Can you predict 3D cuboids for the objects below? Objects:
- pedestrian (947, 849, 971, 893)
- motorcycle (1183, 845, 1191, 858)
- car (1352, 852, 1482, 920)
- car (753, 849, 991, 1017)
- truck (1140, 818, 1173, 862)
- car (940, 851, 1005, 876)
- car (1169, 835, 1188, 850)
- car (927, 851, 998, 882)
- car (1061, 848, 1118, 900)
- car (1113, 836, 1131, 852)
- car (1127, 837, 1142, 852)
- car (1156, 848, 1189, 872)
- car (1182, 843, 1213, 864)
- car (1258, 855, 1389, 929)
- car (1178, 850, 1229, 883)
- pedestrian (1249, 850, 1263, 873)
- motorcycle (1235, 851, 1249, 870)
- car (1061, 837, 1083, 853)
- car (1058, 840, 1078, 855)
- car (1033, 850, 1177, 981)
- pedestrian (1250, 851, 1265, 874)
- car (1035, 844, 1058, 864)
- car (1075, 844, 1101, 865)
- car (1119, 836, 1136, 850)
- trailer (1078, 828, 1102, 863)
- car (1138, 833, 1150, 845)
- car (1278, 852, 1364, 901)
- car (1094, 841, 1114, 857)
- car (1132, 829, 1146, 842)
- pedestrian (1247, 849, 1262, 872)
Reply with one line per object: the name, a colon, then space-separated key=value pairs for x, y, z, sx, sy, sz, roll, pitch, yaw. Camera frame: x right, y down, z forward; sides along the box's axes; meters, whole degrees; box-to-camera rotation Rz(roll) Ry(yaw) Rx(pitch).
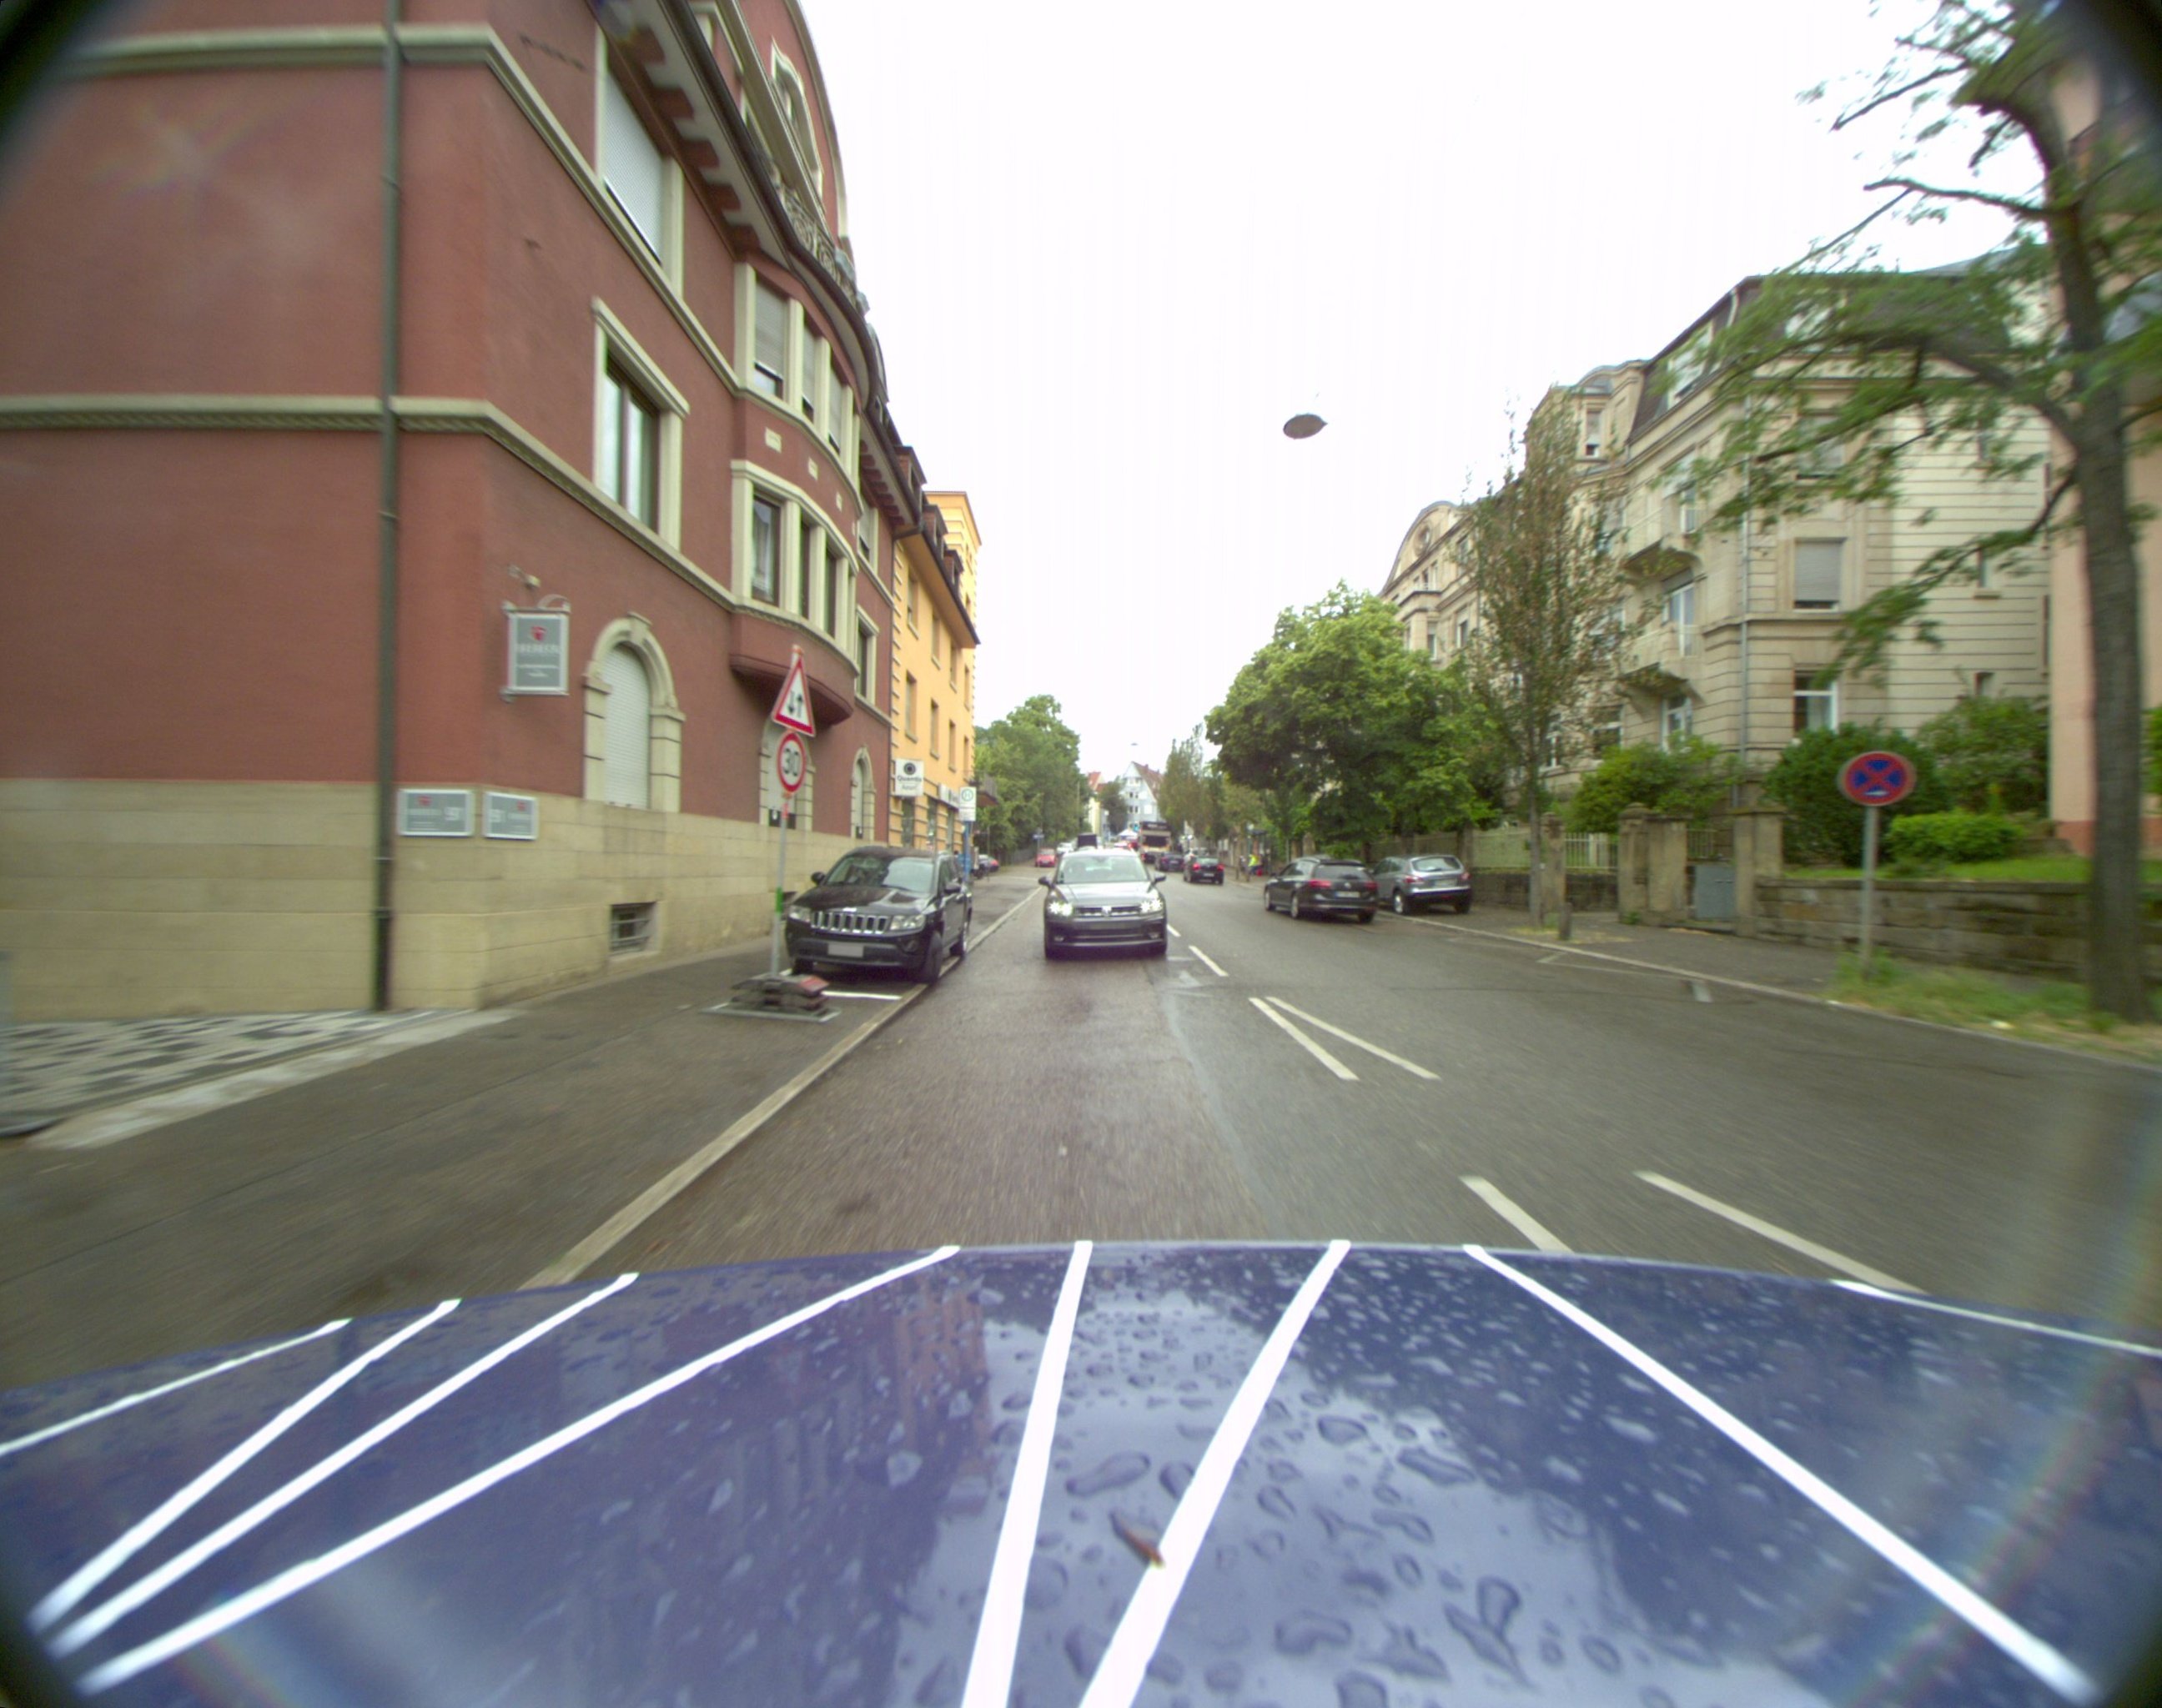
pedestrian: x=-4.527 y=0.618 z=28.114 sx=0.769 sy=1.581 sz=0.711 roll=0 pitch=2 yaw=-18
motorcycle: x=10.596 y=-0.282 z=76.115 sx=0.657 sy=1.229 sz=1.982 roll=1 pitch=2 yaw=4
car: x=9.172 y=0.790 z=21.150 sx=1.746 sy=1.550 sz=4.301 roll=-2 pitch=2 yaw=1
car: x=-2.544 y=0.836 z=10.555 sx=1.881 sy=1.621 sz=4.696 roll=3 pitch=2 yaw=1
truck: x=7.095 y=-1.361 z=72.374 sx=2.653 sy=3.833 sz=9.307 roll=2 pitch=1 yaw=4
car: x=-7.516 y=0.630 z=52.794 sx=4.280 sy=1.489 sz=2.002 roll=-3 pitch=0 yaw=-4
car: x=11.354 y=-1.317 z=88.939 sx=2.000 sy=1.587 sz=3.828 roll=-3 pitch=2 yaw=6
car: x=-7.098 y=0.744 z=45.704 sx=1.850 sy=1.461 sz=4.116 roll=-1 pitch=4 yaw=33
car: x=0.303 y=0.663 z=28.274 sx=1.925 sy=1.642 sz=4.485 roll=-1 pitch=2 yaw=0
car: x=4.110 y=-1.055 z=75.714 sx=1.776 sy=1.509 sz=4.099 roll=1 pitch=2 yaw=3
car: x=6.767 y=-1.259 z=96.605 sx=1.655 sy=1.699 sz=4.114 roll=3 pitch=3 yaw=6
car: x=6.644 y=0.387 z=55.792 sx=1.776 sy=1.459 sz=4.745 roll=2 pitch=3 yaw=0
car: x=9.704 y=-0.086 z=63.617 sx=1.746 sy=1.550 sz=4.300 roll=-2 pitch=2 yaw=-1
car: x=5.805 y=0.837 z=18.814 sx=1.820 sy=1.508 sz=4.548 roll=2 pitch=0 yaw=1
car: x=6.464 y=0.629 z=40.664 sx=1.777 sy=1.509 sz=4.588 roll=-2 pitch=1 yaw=-3
pedestrian: x=11.160 y=0.494 z=48.482 sx=0.768 sy=1.424 sz=0.649 roll=1 pitch=2 yaw=3
motorcycle: x=11.383 y=0.439 z=53.711 sx=0.657 sy=1.230 sz=1.762 roll=1 pitch=2 yaw=4
car: x=-1.019 y=-1.061 z=87.067 sx=1.924 sy=1.642 sz=4.884 roll=4 pitch=2 yaw=5
car: x=-1.370 y=-0.746 z=81.663 sx=1.745 sy=1.455 sz=4.883 roll=4 pitch=2 yaw=3
car: x=0.327 y=0.780 z=12.406 sx=1.860 sy=1.641 sz=5.194 roll=0 pitch=1 yaw=0
pedestrian: x=11.156 y=0.520 z=48.013 sx=0.768 sy=1.424 sz=0.649 roll=1 pitch=2 yaw=3
car: x=-2.807 y=0.007 z=62.591 sx=1.613 sy=1.493 sz=3.957 roll=1 pitch=2 yaw=0
car: x=0.634 y=0.009 z=63.470 sx=1.925 sy=1.642 sz=4.134 roll=-1 pitch=2 yaw=3
car: x=5.409 y=-1.264 z=88.170 sx=1.715 sy=1.471 sz=4.115 roll=2 pitch=2 yaw=6
trailer: x=0.803 y=-0.769 z=66.699 sx=1.966 sy=3.025 sz=2.364 roll=-1 pitch=2 yaw=3
car: x=9.566 y=-2.311 z=115.539 sx=1.655 sy=1.699 sz=4.114 roll=3 pitch=3 yaw=6
car: x=9.142 y=0.803 z=29.340 sx=1.746 sy=1.550 sz=4.300 roll=-3 pitch=2 yaw=-2
car: x=2.585 y=-0.592 z=85.209 sx=1.924 sy=1.642 sz=4.135 roll=-1 pitch=2 yaw=5
car: x=8.145 y=-2.642 z=106.830 sx=1.655 sy=1.699 sz=4.114 roll=3 pitch=3 yaw=6
pedestrian: x=11.194 y=0.419 z=49.094 sx=0.768 sy=1.424 sz=0.759 roll=1 pitch=2 yaw=3
